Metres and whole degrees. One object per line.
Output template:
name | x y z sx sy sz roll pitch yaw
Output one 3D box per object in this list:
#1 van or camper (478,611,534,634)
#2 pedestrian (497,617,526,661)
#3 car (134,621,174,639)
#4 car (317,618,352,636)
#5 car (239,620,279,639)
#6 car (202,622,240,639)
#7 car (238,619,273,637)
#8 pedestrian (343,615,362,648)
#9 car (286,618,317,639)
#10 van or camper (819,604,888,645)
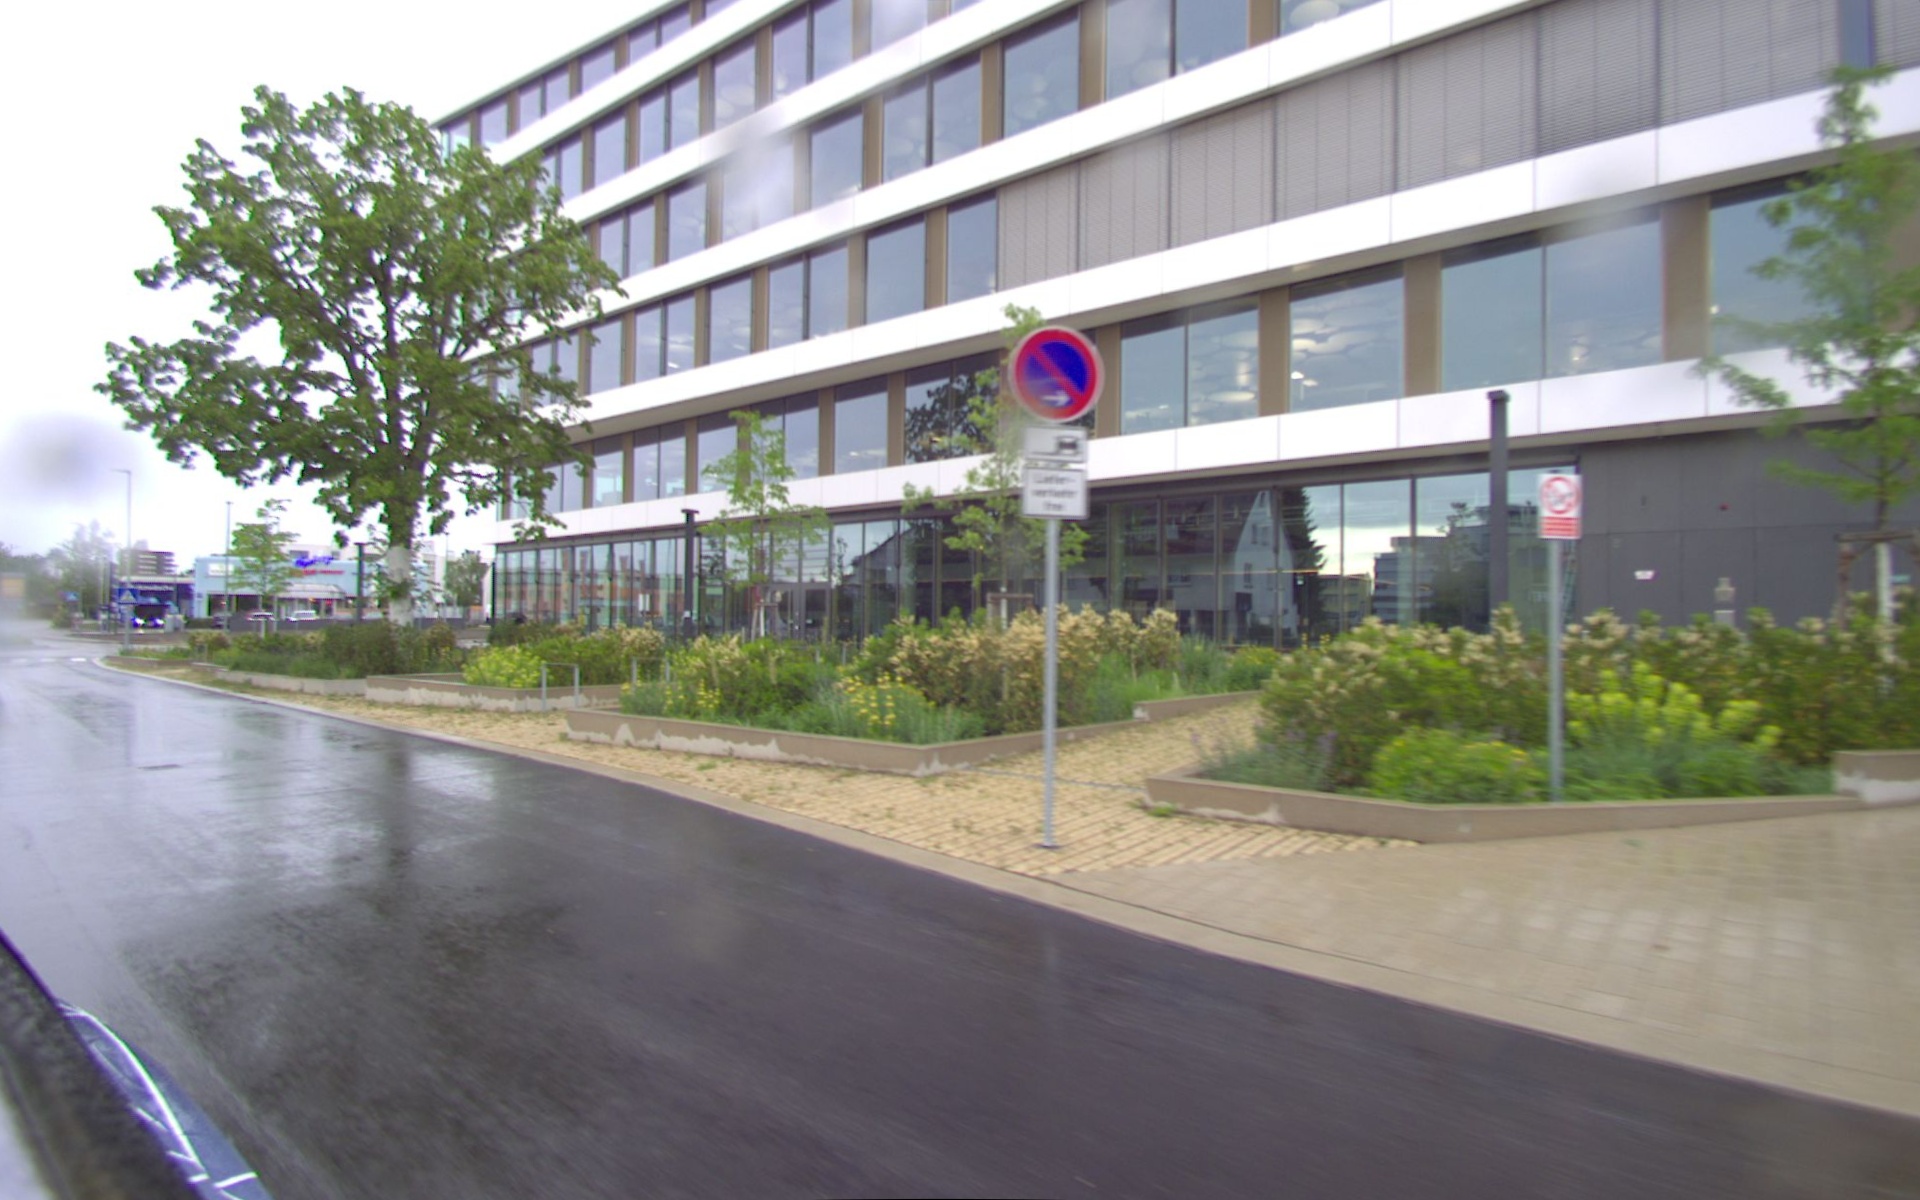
van or camper | -38.906 1.940 86.804 4.306 1.774 1.894 -2 0 -25
pedestrian | -17.926 1.545 40.430 0.956 1.716 0.716 0 2 44
car | -74.304 2.747 93.302 1.888 1.541 4.013 -1 -1 -23
car | -49.293 2.096 79.798 1.855 1.305 4.013 -2 0 -26
car | -53.503 2.262 77.288 1.855 1.305 4.013 -2 0 -26
car | -63.258 2.589 86.664 1.855 1.305 4.013 -2 0 -26
car | -61.415 2.414 88.287 1.855 1.497 4.013 -2 0 -26
pedestrian | -37.635 1.923 62.686 0.878 2.029 0.934 0 -2 -21
car | -51.382 2.203 79.018 1.763 1.564 4.012 1 -2 -29
van or camper | -8.455 1.928 80.366 5.014 3.111 2.006 -1 -1 -29
